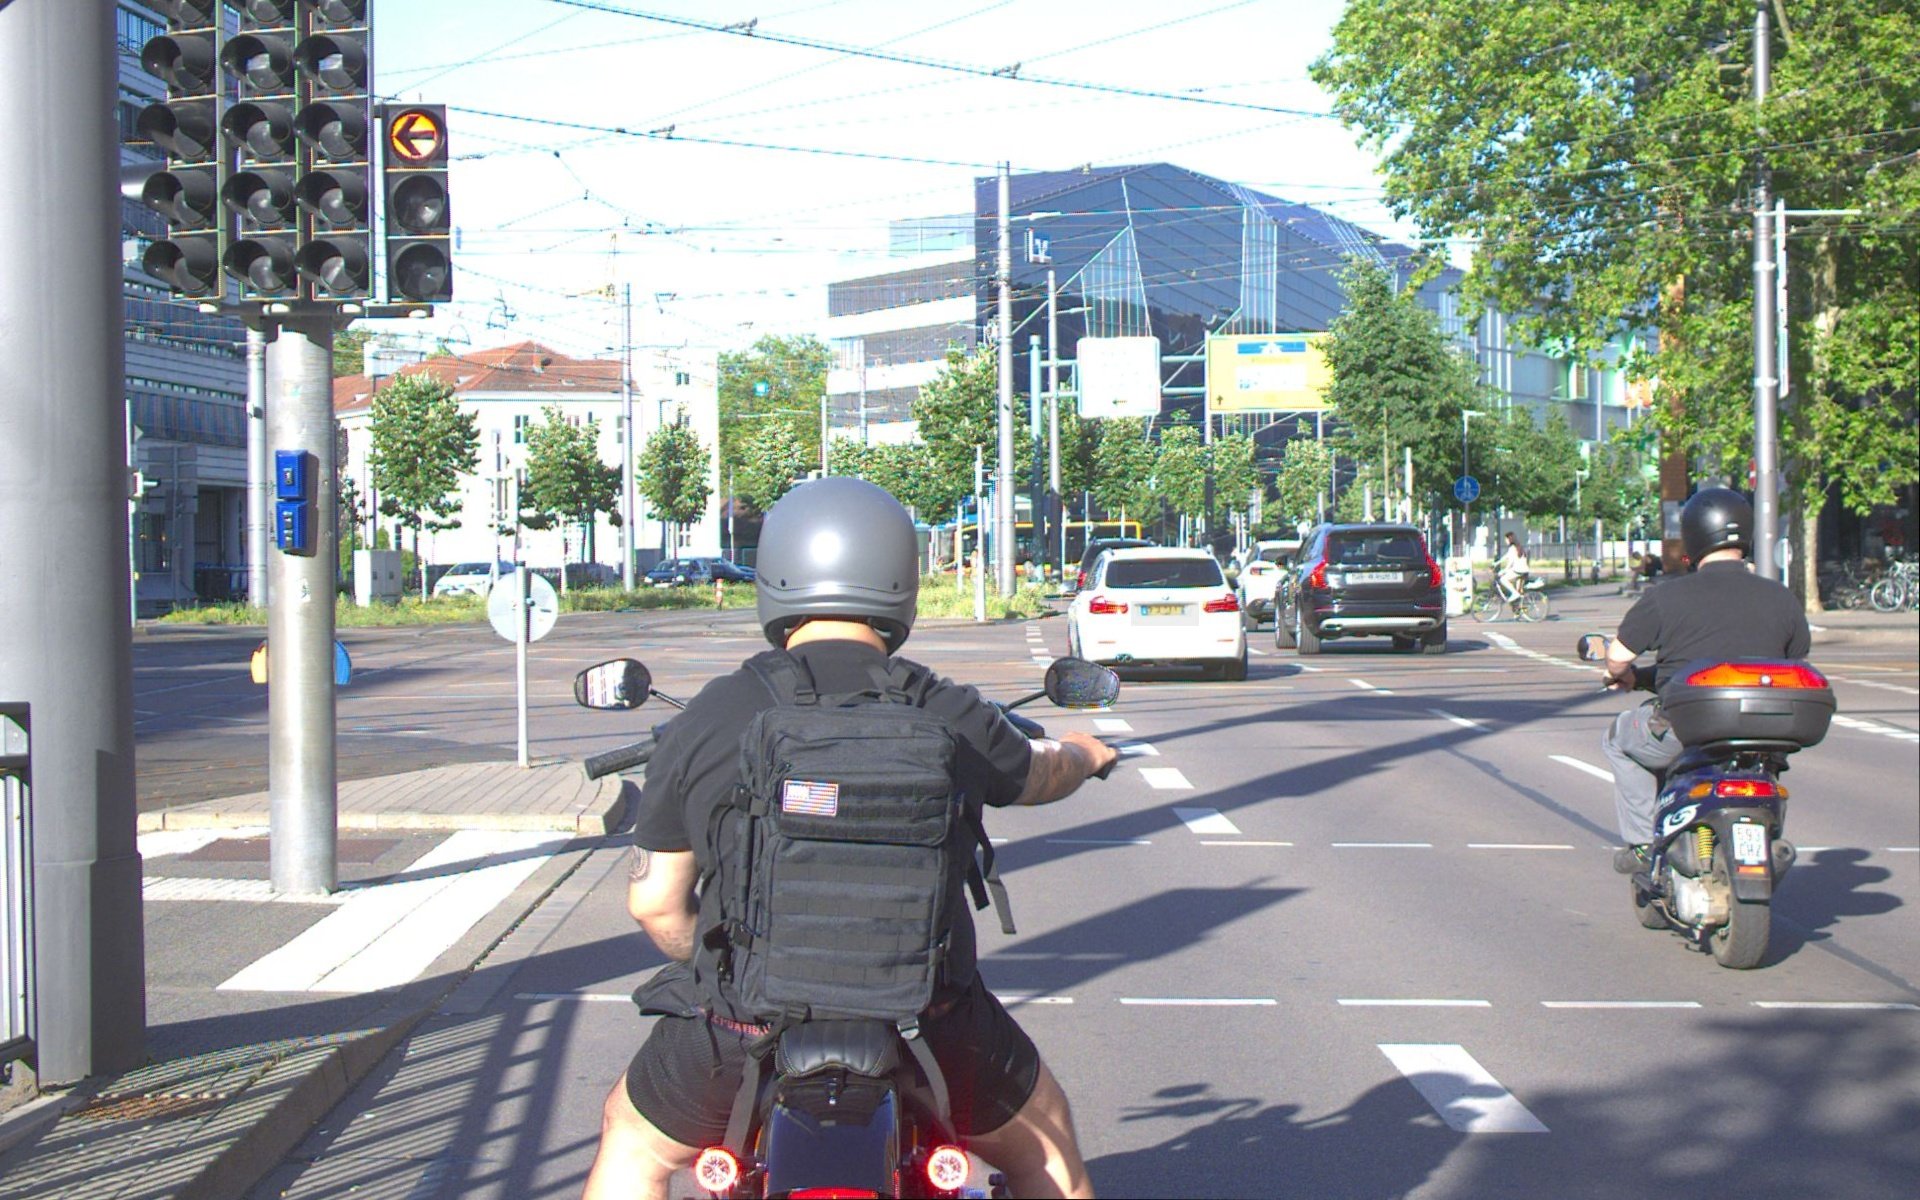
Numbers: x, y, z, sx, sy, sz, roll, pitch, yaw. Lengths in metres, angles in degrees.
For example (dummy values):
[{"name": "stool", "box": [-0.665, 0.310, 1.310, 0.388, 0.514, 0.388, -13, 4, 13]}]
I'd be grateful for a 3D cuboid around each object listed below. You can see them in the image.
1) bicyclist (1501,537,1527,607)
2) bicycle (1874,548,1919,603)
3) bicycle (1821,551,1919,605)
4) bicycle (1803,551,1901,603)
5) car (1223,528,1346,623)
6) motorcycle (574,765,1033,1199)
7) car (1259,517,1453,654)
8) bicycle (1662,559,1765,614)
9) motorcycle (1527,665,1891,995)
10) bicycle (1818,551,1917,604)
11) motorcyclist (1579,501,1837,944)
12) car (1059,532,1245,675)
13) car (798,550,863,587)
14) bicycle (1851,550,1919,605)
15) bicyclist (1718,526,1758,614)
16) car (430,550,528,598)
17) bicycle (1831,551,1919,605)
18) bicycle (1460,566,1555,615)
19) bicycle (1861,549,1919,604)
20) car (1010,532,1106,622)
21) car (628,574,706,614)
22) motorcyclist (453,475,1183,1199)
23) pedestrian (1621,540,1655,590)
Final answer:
[{"name": "bicyclist", "box": [10.760, -0.543, 66.768, 0.381, 1.368, 0.344, 1, 0, 36]}, {"name": "bicycle", "box": [18.469, -0.454, 65.740, 1.880, 1.043, 0.360, 1, 0, -1]}, {"name": "bicycle", "box": [18.287, -0.450, 69.009, 1.880, 1.043, 0.360, 1, 1, -1]}, {"name": "bicycle", "box": [18.332, -0.472, 70.662, 1.880, 1.043, 0.360, 1, 1, -1]}, {"name": "car", "box": [5.700, -0.461, 60.782, 1.731, 1.593, 4.041, 1, 1, 0]}, {"name": "motorcycle", "box": [-0.225, 0.869, 5.665, 0.600, 1.032, 2.234, 1, 1, -1]}, {"name": "car", "box": [5.330, -0.245, 46.815, 1.731, 1.726, 4.613, 1, 2, -5]}, {"name": "bicycle", "box": [14.323, -0.249, 65.335, 1.872, 1.040, 0.536, 0, 0, 19]}, {"name": "motorcycle", "box": [2.715, 0.796, 12.752, 0.804, 1.047, 2.376, 1, 0, 0]}, {"name": "bicycle", "box": [18.341, -0.458, 69.511, 1.880, 1.043, 0.360, 1, 1, -1]}, {"name": "motorcyclist", "box": [2.724, 0.438, 12.566, 0.796, 1.574, 0.529, 1, 0, -1]}, {"name": "car", "box": [2.055, 0.026, 37.837, 1.731, 1.452, 4.418, 1, 0, -1]}, {"name": "car", "box": [-5.570, -1.338, 147.985, 1.750, 1.519, 3.997, 1, 0, 13]}, {"name": "bicycle", "box": [18.440, -0.438, 67.337, 1.880, 1.043, 0.360, 1, 0, -1]}, {"name": "bicyclist", "box": [14.759, -0.564, 65.204, 0.688, 1.667, 0.540, 0, 0, 19]}, {"name": "car", "box": [-15.039, -0.833, 107.705, 1.826, 1.425, 4.529, 0, 1, 8]}, {"name": "bicycle", "box": [18.349, -0.434, 68.525, 1.880, 1.043, 0.360, 1, 0, -1]}, {"name": "bicycle", "box": [10.638, -0.186, 66.850, 1.829, 0.922, 0.357, 1, 0, 34]}, {"name": "bicycle", "box": [18.438, -0.446, 66.522, 1.880, 1.043, 0.360, 1, 0, -1]}, {"name": "car", "box": [1.938, -0.444, 67.215, 1.803, 1.672, 4.040, 1, 0, 2]}, {"name": "car", "box": [-10.939, -0.229, 128.629, 1.826, 1.426, 4.239, 1, 0, 11]}, {"name": "motorcyclist", "box": [-0.205, 0.612, 5.323, 1.030, 1.588, 0.873, 0, 1, -1]}, {"name": "pedestrian", "box": [17.910, -0.913, 90.825, 0.819, 1.309, 0.637, 1, 0, 9]}]
